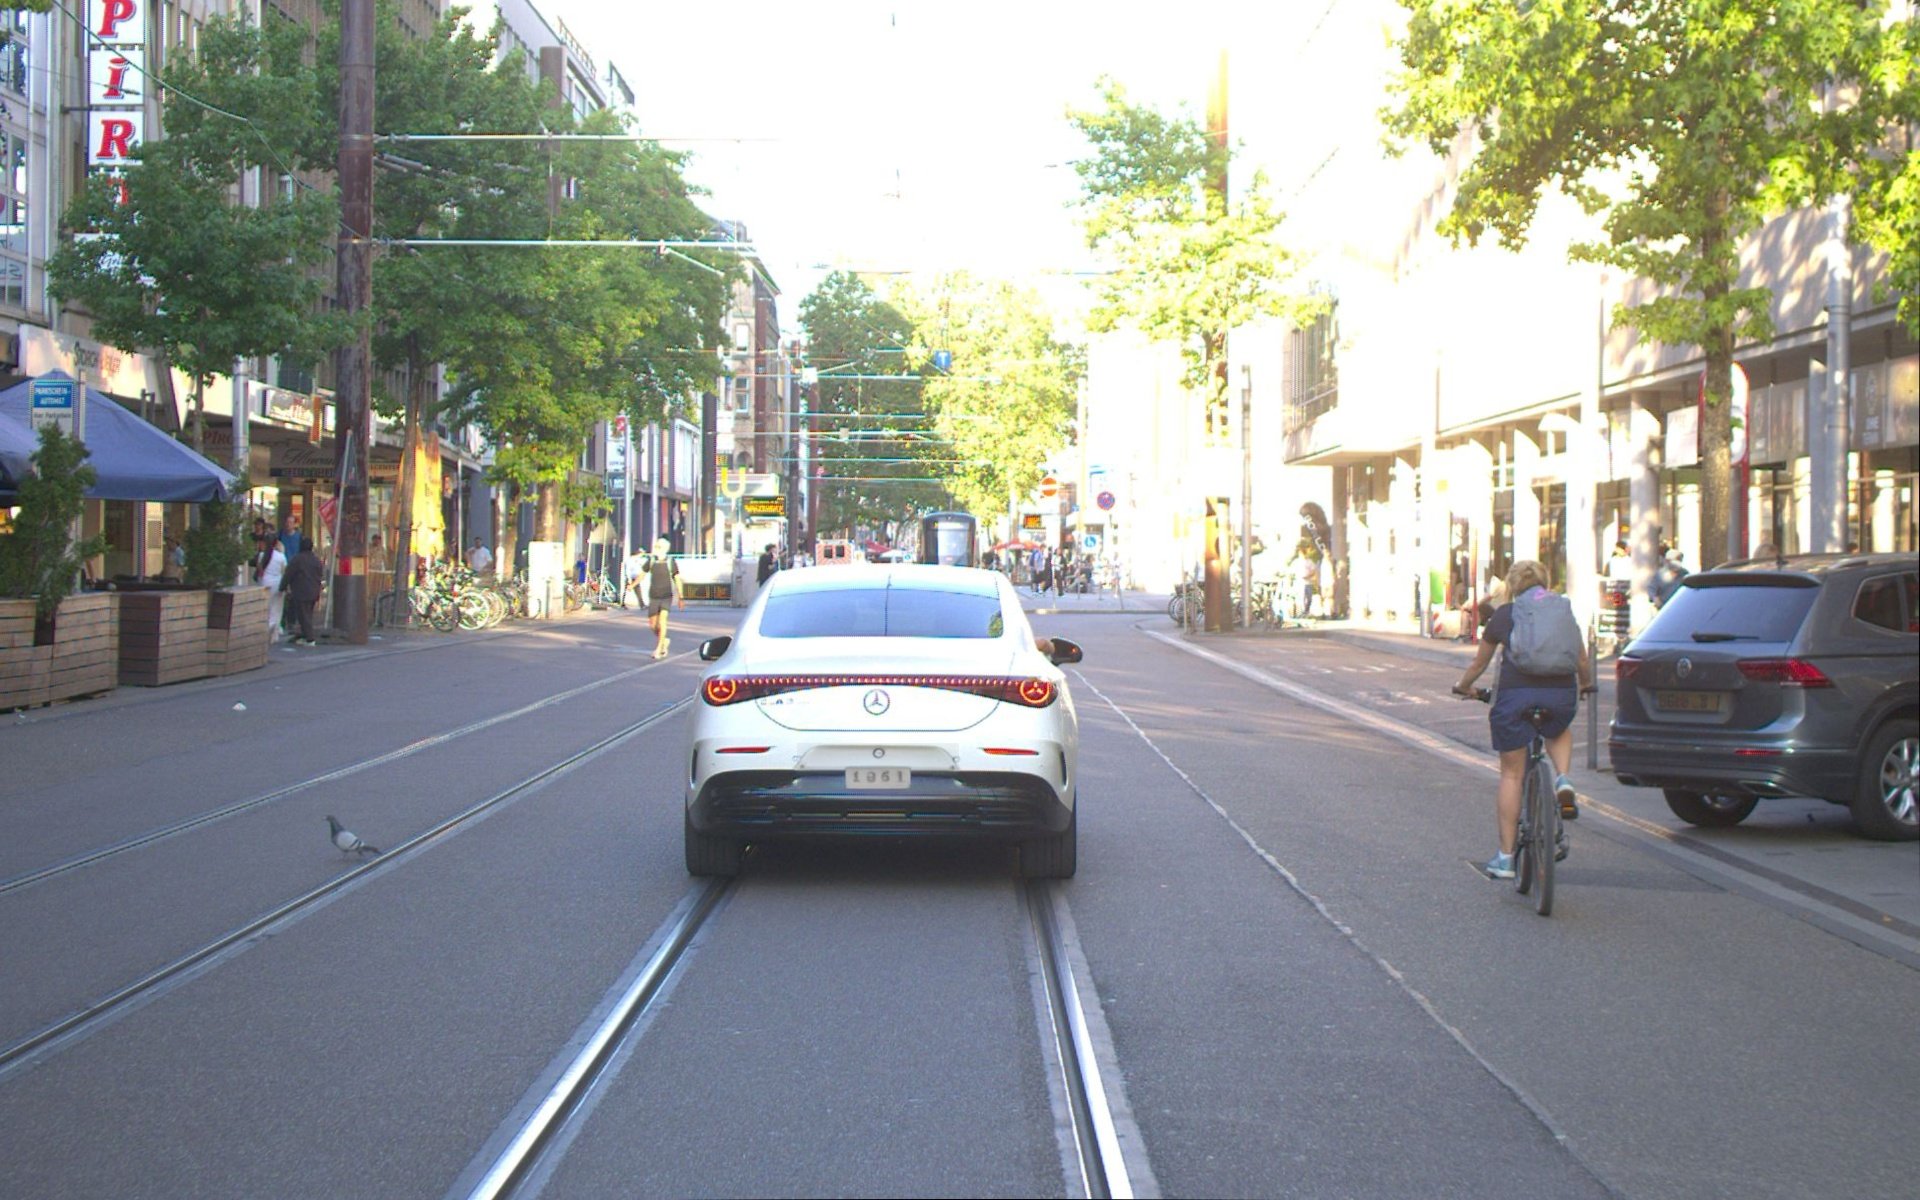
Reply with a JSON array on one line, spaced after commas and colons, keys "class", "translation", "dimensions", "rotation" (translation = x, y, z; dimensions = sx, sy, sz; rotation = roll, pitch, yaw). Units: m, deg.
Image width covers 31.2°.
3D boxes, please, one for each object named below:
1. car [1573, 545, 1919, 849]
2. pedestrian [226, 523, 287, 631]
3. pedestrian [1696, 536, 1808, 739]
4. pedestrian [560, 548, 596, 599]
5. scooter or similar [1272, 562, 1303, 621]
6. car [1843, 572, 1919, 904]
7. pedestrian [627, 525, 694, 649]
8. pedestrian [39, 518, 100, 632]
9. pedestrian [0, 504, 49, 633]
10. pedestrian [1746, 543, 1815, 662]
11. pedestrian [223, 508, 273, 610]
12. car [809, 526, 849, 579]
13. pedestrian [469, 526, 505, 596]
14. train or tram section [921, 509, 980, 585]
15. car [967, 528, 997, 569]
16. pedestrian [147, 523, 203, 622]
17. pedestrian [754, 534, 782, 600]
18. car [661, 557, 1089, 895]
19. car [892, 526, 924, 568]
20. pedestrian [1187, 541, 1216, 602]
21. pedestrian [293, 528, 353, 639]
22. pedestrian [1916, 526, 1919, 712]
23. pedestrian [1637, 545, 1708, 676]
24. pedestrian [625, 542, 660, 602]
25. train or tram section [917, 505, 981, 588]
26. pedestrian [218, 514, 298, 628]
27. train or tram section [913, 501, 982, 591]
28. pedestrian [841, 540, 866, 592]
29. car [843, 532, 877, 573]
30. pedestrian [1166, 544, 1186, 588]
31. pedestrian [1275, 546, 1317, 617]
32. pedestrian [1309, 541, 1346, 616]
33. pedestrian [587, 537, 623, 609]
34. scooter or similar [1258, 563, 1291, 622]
[{"class": "car", "translation": [5.990, 0.495, 20.969], "dimensions": [4.342, 1.646, 1.695], "rotation": [-2, 1, -31]}, {"class": "pedestrian", "translation": [-10.066, -0.329, 49.236], "dimensions": [0.622, 1.504, 0.833], "rotation": [3, 1, 1]}, {"class": "pedestrian", "translation": [6.689, 0.311, 29.019], "dimensions": [0.680, 1.679, 0.695], "rotation": [-1, 1, 34]}, {"class": "pedestrian", "translation": [-11.237, -0.787, 101.127], "dimensions": [0.955, 1.491, 0.944], "rotation": [0, 1, 1]}, {"class": "scooter or similar", "translation": [7.101, -0.182, 74.552], "dimensions": [0.491, 1.273, 0.660], "rotation": [-1, 1, -11]}, {"class": "car", "translation": [6.650, 0.599, 17.145], "dimensions": [4.235, 1.582, 1.884], "rotation": [-2, 1, -31]}, {"class": "pedestrian", "translation": [-4.459, -0.199, 51.159], "dimensions": [0.841, 1.795, 0.790], "rotation": [2, 1, 1]}, {"class": "pedestrian", "translation": [-12.217, -0.344, 47.167], "dimensions": [0.597, 1.527, 0.671], "rotation": [2, 1, 1]}, {"class": "pedestrian", "translation": [-12.923, -0.439, 47.175], "dimensions": [0.597, 1.739, 0.671], "rotation": [2, 1, 1]}, {"class": "pedestrian", "translation": [11.128, 0.026, 46.651], "dimensions": [0.696, 1.583, 0.925], "rotation": [1, 1, 1]}, {"class": "pedestrian", "translation": [-12.850, -0.746, 62.074], "dimensions": [0.622, 1.798, 0.933], "rotation": [3, 1, 1]}, {"class": "car", "translation": [-7.272, -2.644, 191.297], "dimensions": [1.993, 2.887, 5.275], "rotation": [0, 1, 0]}, {"class": "pedestrian", "translation": [-11.895, -0.988, 86.479], "dimensions": [0.785, 1.760, 0.537], "rotation": [0, 1, -24]}, {"class": "train or tram section", "translation": [-0.444, -2.541, 165.029], "dimensions": [2.694, 3.504, 11.143], "rotation": [0, 1, 0]}, {"class": "car", "translation": [1.553, -3.620, 242.228], "dimensions": [2.099, 2.887, 5.285], "rotation": [0, 1, 0]}, {"class": "pedestrian", "translation": [-12.342, -0.439, 54.080], "dimensions": [0.622, 1.520, 0.809], "rotation": [3, 1, 1]}, {"class": "pedestrian", "translation": [-5.620, -0.965, 100.699], "dimensions": [0.540, 1.922, 0.571], "rotation": [1, 1, 44]}, {"class": "car", "translation": [-0.375, 0.524, 17.069], "dimensions": [1.857, 1.450, 4.175], "rotation": [0, 1, 0]}, {"class": "car", "translation": [-3.646, -3.709, 241.955], "dimensions": [2.099, 2.887, 5.275], "rotation": [0, 1, 0]}, {"class": "pedestrian", "translation": [7.125, -0.846, 101.433], "dimensions": [0.748, 1.779, 0.767], "rotation": [-1, 1, 0]}, {"class": "pedestrian", "translation": [-9.115, -0.236, 49.241], "dimensions": [0.622, 1.545, 0.852], "rotation": [3, 1, 1]}, {"class": "pedestrian", "translation": [8.510, 0.232, 28.868], "dimensions": [0.689, 1.725, 0.631], "rotation": [-1, 1, 42]}, {"class": "pedestrian", "translation": [8.695, 0.119, 41.974], "dimensions": [0.681, 1.567, 0.632], "rotation": [2, 1, 1]}, {"class": "pedestrian", "translation": [-9.066, -0.795, 98.240], "dimensions": [0.905, 1.693, 0.849], "rotation": [0, 1, 1]}, {"class": "train or tram section", "translation": [-0.460, -2.376, 153.189], "dimensions": [2.694, 3.504, 12.545], "rotation": [0, 1, 0]}, {"class": "pedestrian", "translation": [-10.952, -0.449, 53.682], "dimensions": [0.850, 1.735, 0.834], "rotation": [3, 1, 20]}, {"class": "train or tram section", "translation": [-0.484, -2.196, 140.636], "dimensions": [2.694, 3.504, 12.545], "rotation": [0, 1, 0]}, {"class": "pedestrian", "translation": [-3.721, -1.175, 120.143], "dimensions": [0.800, 1.776, 0.849], "rotation": [2, 1, -1]}, {"class": "car", "translation": [-6.094, -2.894, 209.936], "dimensions": [1.910, 2.452, 5.275], "rotation": [0, 1, 0]}, {"class": "pedestrian", "translation": [8.804, -1.402, 140.201], "dimensions": [0.727, 1.779, 0.707], "rotation": [1, 1, 0]}, {"class": "pedestrian", "translation": [8.375, -0.463, 85.685], "dimensions": [0.899, 1.739, 0.689], "rotation": [-3, 1, 0]}, {"class": "pedestrian", "translation": [9.133, -0.535, 85.429], "dimensions": [0.701, 1.806, 1.033], "rotation": [-3, 1, 0]}, {"class": "pedestrian", "translation": [-8.975, -0.683, 87.045], "dimensions": [0.788, 1.795, 0.844], "rotation": [1, 1, 1]}, {"class": "scooter or similar", "translation": [6.878, -0.176, 75.213], "dimensions": [0.527, 1.273, 0.660], "rotation": [-1, 1, -11]}]
